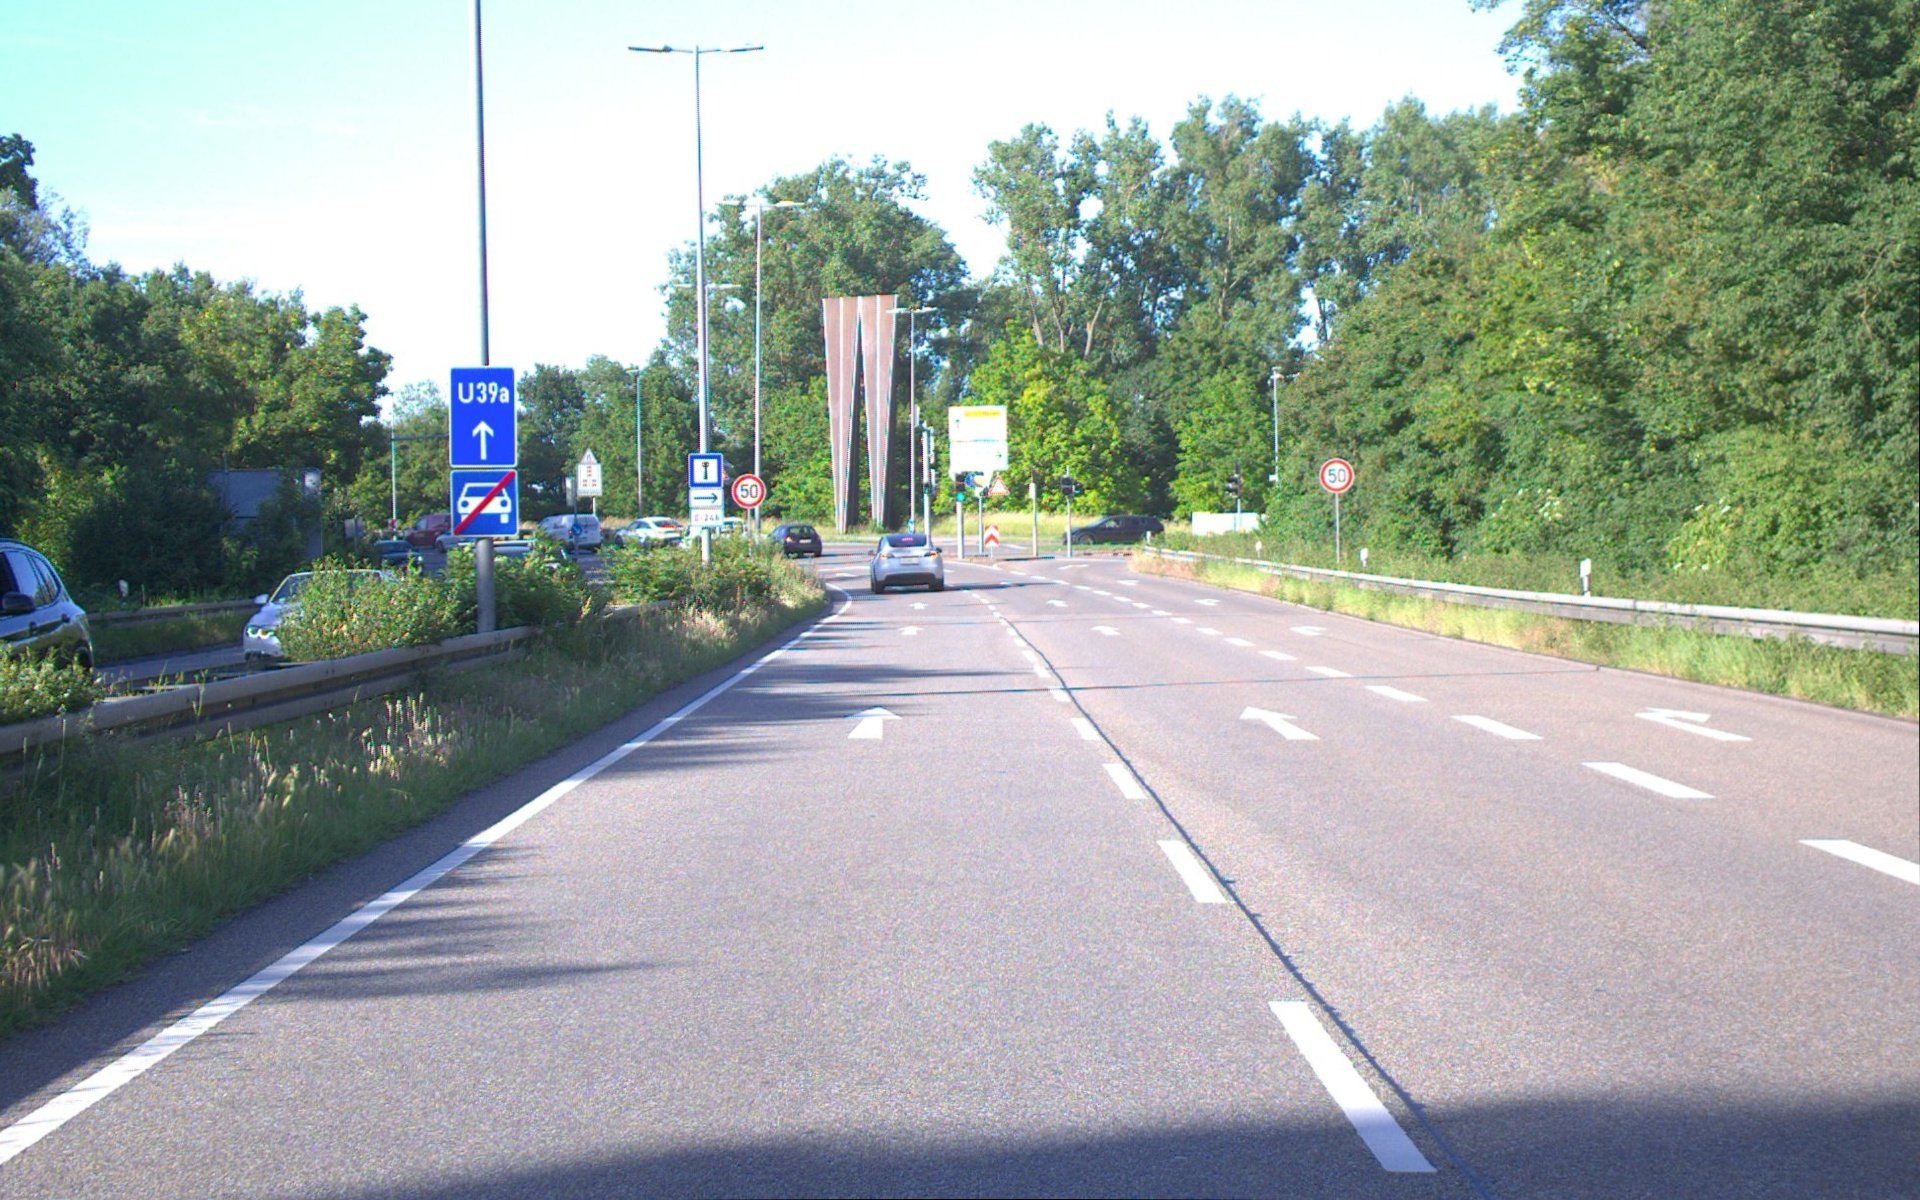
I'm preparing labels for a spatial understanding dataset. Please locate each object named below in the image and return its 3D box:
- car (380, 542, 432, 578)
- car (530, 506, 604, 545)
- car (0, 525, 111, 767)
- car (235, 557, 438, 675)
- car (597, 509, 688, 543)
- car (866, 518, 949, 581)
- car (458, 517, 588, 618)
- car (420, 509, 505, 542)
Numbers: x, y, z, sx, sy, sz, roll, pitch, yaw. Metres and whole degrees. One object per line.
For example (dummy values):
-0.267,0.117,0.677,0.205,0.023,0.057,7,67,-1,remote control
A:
-22.822,-1.663,141.614,1.805,1.412,4.533,-2,1,-6,car
-18.142,-3.454,158.734,1.969,1.692,4.001,-2,3,-29,car
-7.675,0.320,25.189,1.785,1.704,4.547,-1,1,0,car
-7.815,0.158,43.472,1.773,1.352,4.462,-1,1,0,car
-14.755,-3.443,159.795,1.970,1.469,4.152,-3,3,-45,car
-1.495,-1.440,96.300,1.993,1.634,4.129,-1,2,-5,car
-7.977,-0.624,63.081,1.834,1.766,4.338,-1,1,-1,car
-24.126,-3.597,166.554,2.267,1.503,3.998,-2,2,-40,car
